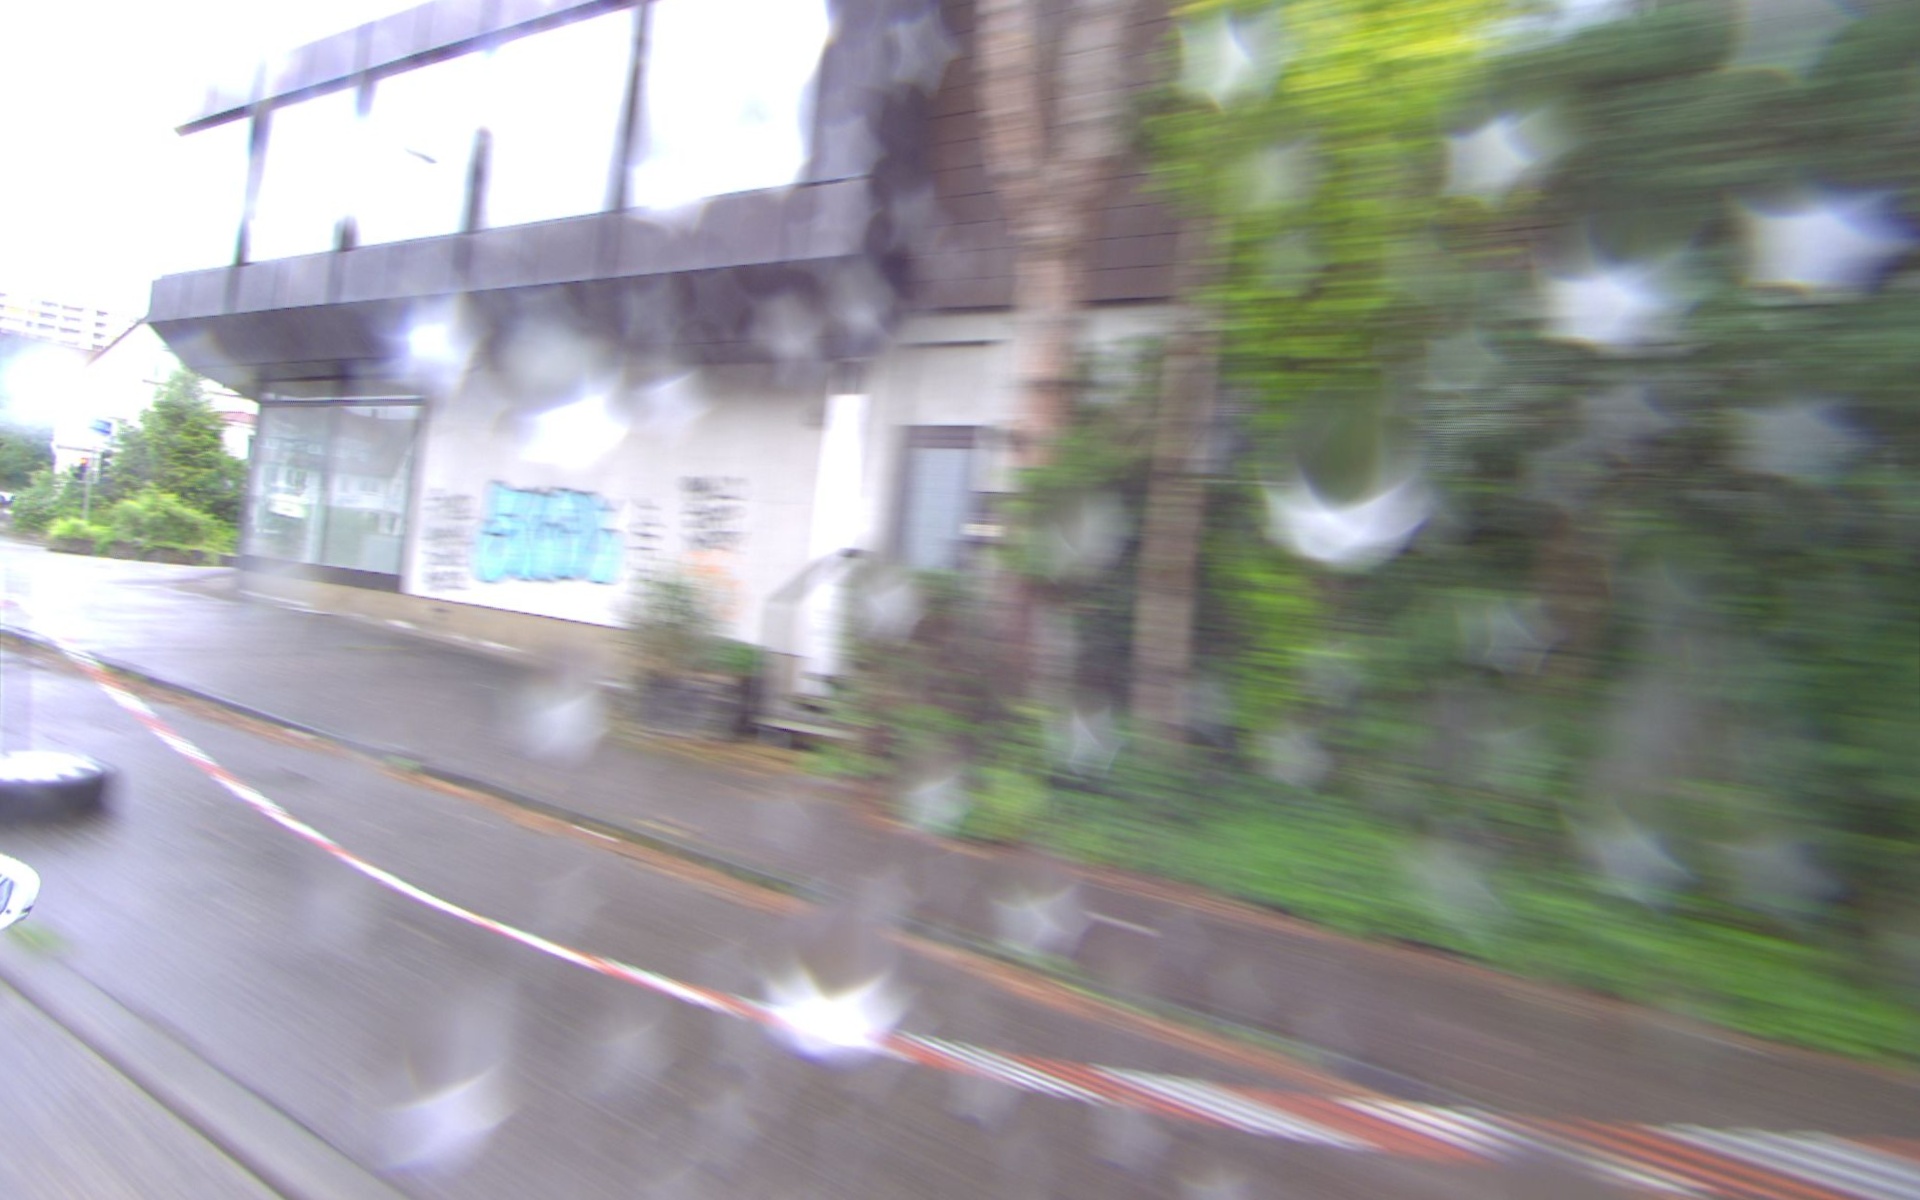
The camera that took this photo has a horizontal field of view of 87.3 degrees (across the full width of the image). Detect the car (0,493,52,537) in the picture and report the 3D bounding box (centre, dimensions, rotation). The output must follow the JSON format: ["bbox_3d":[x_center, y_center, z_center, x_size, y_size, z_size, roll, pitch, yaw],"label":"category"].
[{"bbox_3d":[-38.677,-3.527,40.508,1.723,1.532,3.979,9,-2,-23],"label":"car"}]
